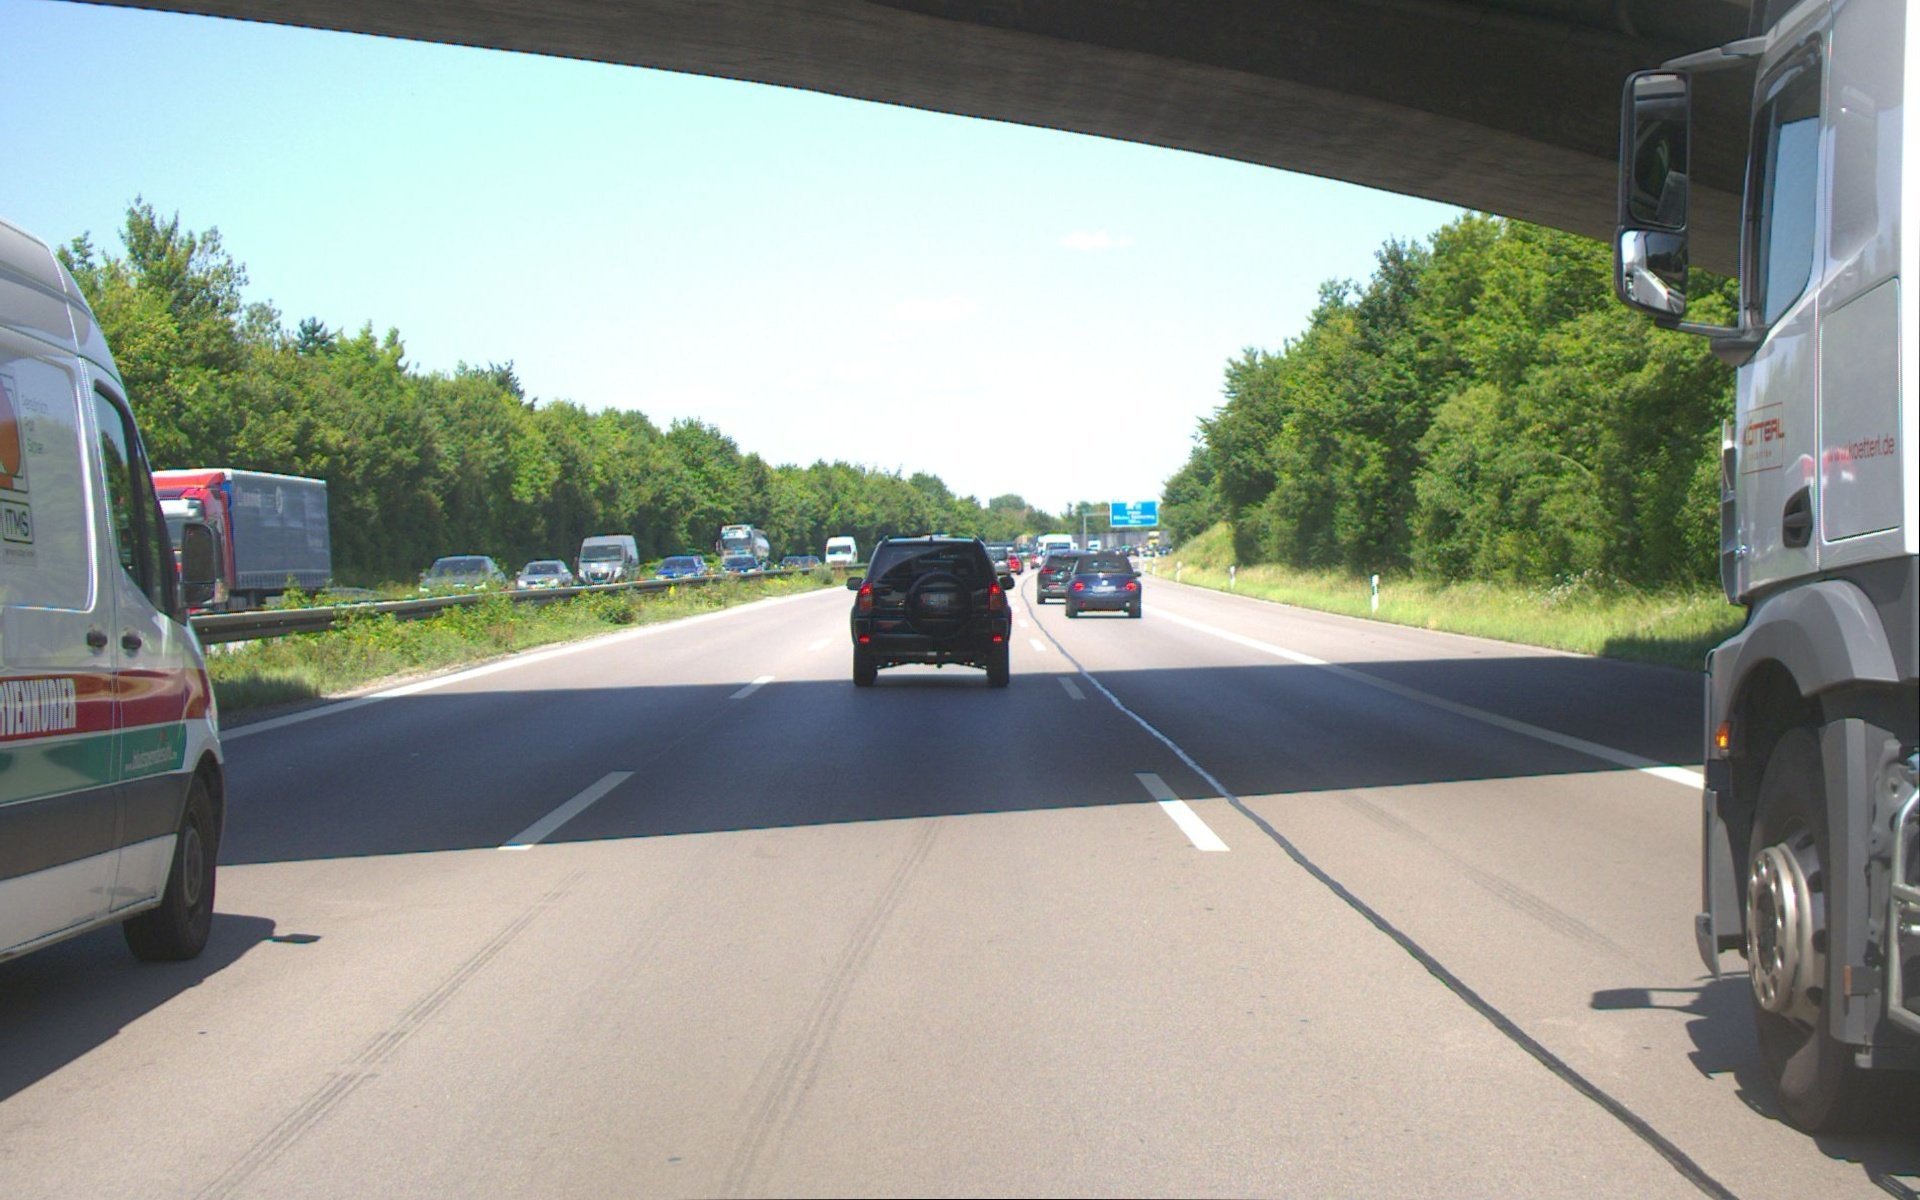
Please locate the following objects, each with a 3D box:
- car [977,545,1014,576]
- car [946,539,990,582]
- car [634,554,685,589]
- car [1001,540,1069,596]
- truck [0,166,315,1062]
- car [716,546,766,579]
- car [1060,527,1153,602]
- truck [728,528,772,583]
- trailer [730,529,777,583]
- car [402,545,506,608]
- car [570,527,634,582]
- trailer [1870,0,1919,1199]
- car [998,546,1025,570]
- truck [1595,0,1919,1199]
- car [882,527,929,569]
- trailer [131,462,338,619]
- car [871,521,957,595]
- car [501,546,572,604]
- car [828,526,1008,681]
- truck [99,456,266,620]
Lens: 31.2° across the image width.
[{"bbox_3d":[2.049,-2.292,199.766,1.993,1.744,4.205,-1,1,-2],"label":"car"},{"bbox_3d":[0.351,-1.934,165.573,1.993,2.007,4.768,-1,1,-1],"label":"car"},{"bbox_3d":[-12.269,-1.162,140.668,1.725,1.370,4.545,-1,1,-1],"label":"car"},{"bbox_3d":[2.179,-0.922,101.066,1.842,1.606,4.000,-1,0,-1],"label":"car"},{"bbox_3d":[-3.696,0.014,10.794,1.993,2.533,6.692,1,1,1],"label":"truck"},{"bbox_3d":[-10.943,-1.900,172.036,1.993,1.602,4.648,-1,1,2],"label":"car"},{"bbox_3d":[3.415,-0.815,80.851,1.993,1.678,4.000,-1,0,0],"label":"car"},{"bbox_3d":[-15.309,-3.244,250.997,2.731,3.869,6.322,-3,1,-1],"label":"truck"},{"bbox_3d":[-15.404,-3.292,257.122,2.766,3.869,9.457,-3,1,0],"label":"trailer"},{"bbox_3d":[-12.435,-0.596,84.721,1.882,1.478,4.434,-1,1,0],"label":"car"},{"bbox_3d":[-15.081,-1.897,145.186,1.993,2.227,6.517,-1,0,0],"label":"car"},{"bbox_3d":[3.420,-0.239,1.907,2.648,3.378,11.152,0,1,-1],"label":"trailer"},{"bbox_3d":[3.835,-3.139,255.898,1.812,1.740,4.001,-1,1,-2],"label":"car"},{"bbox_3d":[3.340,-0.337,7.570,2.638,3.363,6.488,0,1,0],"label":"truck"},{"bbox_3d":[-2.720,-2.607,172.283,1.994,2.007,4.949,-1,1,2],"label":"car"},{"bbox_3d":[-20.410,-1.691,97.644,2.785,4.026,13.548,-3,1,0],"label":"trailer"},{"bbox_3d":[-1.136,-1.030,83.969,1.993,1.700,4.336,-1,1,-1],"label":"car"},{"bbox_3d":[-15.802,-0.927,128.425,1.993,2.089,5.249,-1,0,0],"label":"car"},{"bbox_3d":[-0.533,0.008,39.271,1.906,1.659,4.001,-1,1,-3],"label":"car"},{"bbox_3d":[-20.398,-1.628,90.534,2.785,4.047,6.210,-3,1,0],"label":"truck"}]
